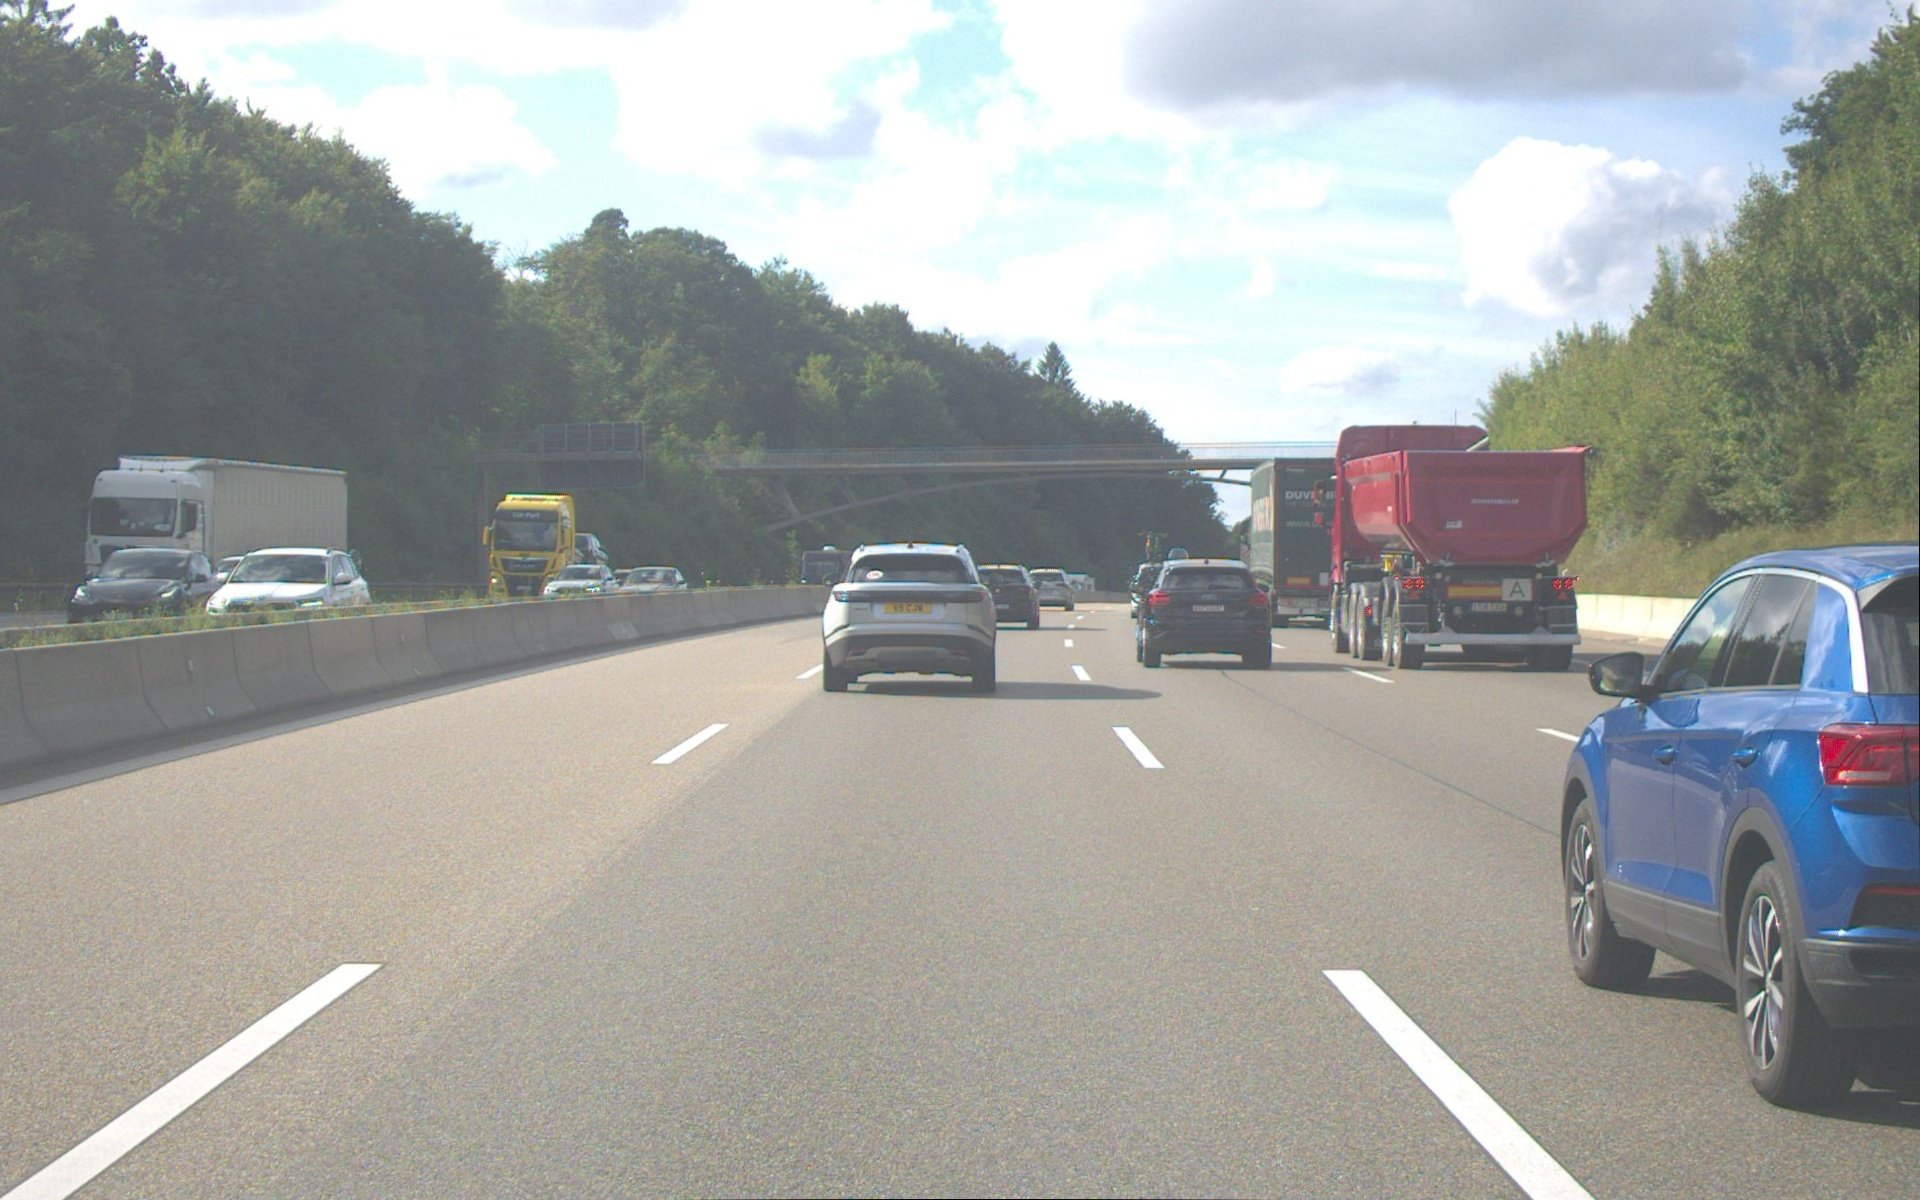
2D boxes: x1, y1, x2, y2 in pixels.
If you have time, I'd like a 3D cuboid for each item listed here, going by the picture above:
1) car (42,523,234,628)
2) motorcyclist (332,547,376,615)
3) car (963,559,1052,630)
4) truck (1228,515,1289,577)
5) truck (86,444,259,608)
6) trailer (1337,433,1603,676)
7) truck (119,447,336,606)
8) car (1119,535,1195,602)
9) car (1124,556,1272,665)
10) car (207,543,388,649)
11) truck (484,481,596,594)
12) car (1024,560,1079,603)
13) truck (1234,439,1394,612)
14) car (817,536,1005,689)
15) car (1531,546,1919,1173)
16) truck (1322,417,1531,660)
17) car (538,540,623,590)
[{"bbox_3d":[-13.824,-0.431,58.112,1.993,1.681,4.679,1,1,2],"label":"car"},{"bbox_3d":[-13.344,-0.420,75.717,0.754,1.471,1.075,1,1,1],"label":"motorcyclist"},{"bbox_3d":[1.111,-0.151,78.421,1.822,1.541,4.000,2,1,3],"label":"car"},{"bbox_3d":[14.553,-2.613,167.298,2.845,2.915,8.384,1,1,5],"label":"truck"},{"bbox_3d":[-20.239,-1.887,88.722,2.707,4.054,6.598,1,1,2],"label":"truck"},{"bbox_3d":[7.347,-0.686,50.817,2.710,3.220,9.732,1,1,2],"label":"trailer"},{"bbox_3d":[-20.036,-2.004,94.976,2.706,4.054,13.088,1,1,2],"label":"truck"},{"bbox_3d":[5.580,-0.912,97.955,1.893,1.850,4.101,1,1,0],"label":"car"},{"bbox_3d":[3.348,0.116,48.954,1.822,1.452,4.000,1,1,0],"label":"car"},{"bbox_3d":[-9.865,-0.093,51.498,1.754,1.503,4.680,1,1,1],"label":"car"},{"bbox_3d":[-14.514,-2.161,119.270,2.776,3.797,7.134,1,1,2],"label":"truck"},{"bbox_3d":[3.191,-0.662,119.517,1.822,1.452,4.000,1,1,3],"label":"car"},{"bbox_3d":[8.516,-1.793,83.975,3.118,3.921,10.411,1,1,2],"label":"truck"},{"bbox_3d":[-0.591,0.086,39.571,2.006,1.611,5.301,1,1,-1],"label":"car"},{"bbox_3d":[3.017,0.601,10.636,1.773,1.525,4.458,0,1,0],"label":"car"},{"bbox_3d":[7.466,-0.990,55.724,2.710,3.706,5.817,1,1,2],"label":"truck"},{"bbox_3d":[-11.703,-1.096,106.301,1.993,1.481,4.983,1,1,1],"label":"car"}]
